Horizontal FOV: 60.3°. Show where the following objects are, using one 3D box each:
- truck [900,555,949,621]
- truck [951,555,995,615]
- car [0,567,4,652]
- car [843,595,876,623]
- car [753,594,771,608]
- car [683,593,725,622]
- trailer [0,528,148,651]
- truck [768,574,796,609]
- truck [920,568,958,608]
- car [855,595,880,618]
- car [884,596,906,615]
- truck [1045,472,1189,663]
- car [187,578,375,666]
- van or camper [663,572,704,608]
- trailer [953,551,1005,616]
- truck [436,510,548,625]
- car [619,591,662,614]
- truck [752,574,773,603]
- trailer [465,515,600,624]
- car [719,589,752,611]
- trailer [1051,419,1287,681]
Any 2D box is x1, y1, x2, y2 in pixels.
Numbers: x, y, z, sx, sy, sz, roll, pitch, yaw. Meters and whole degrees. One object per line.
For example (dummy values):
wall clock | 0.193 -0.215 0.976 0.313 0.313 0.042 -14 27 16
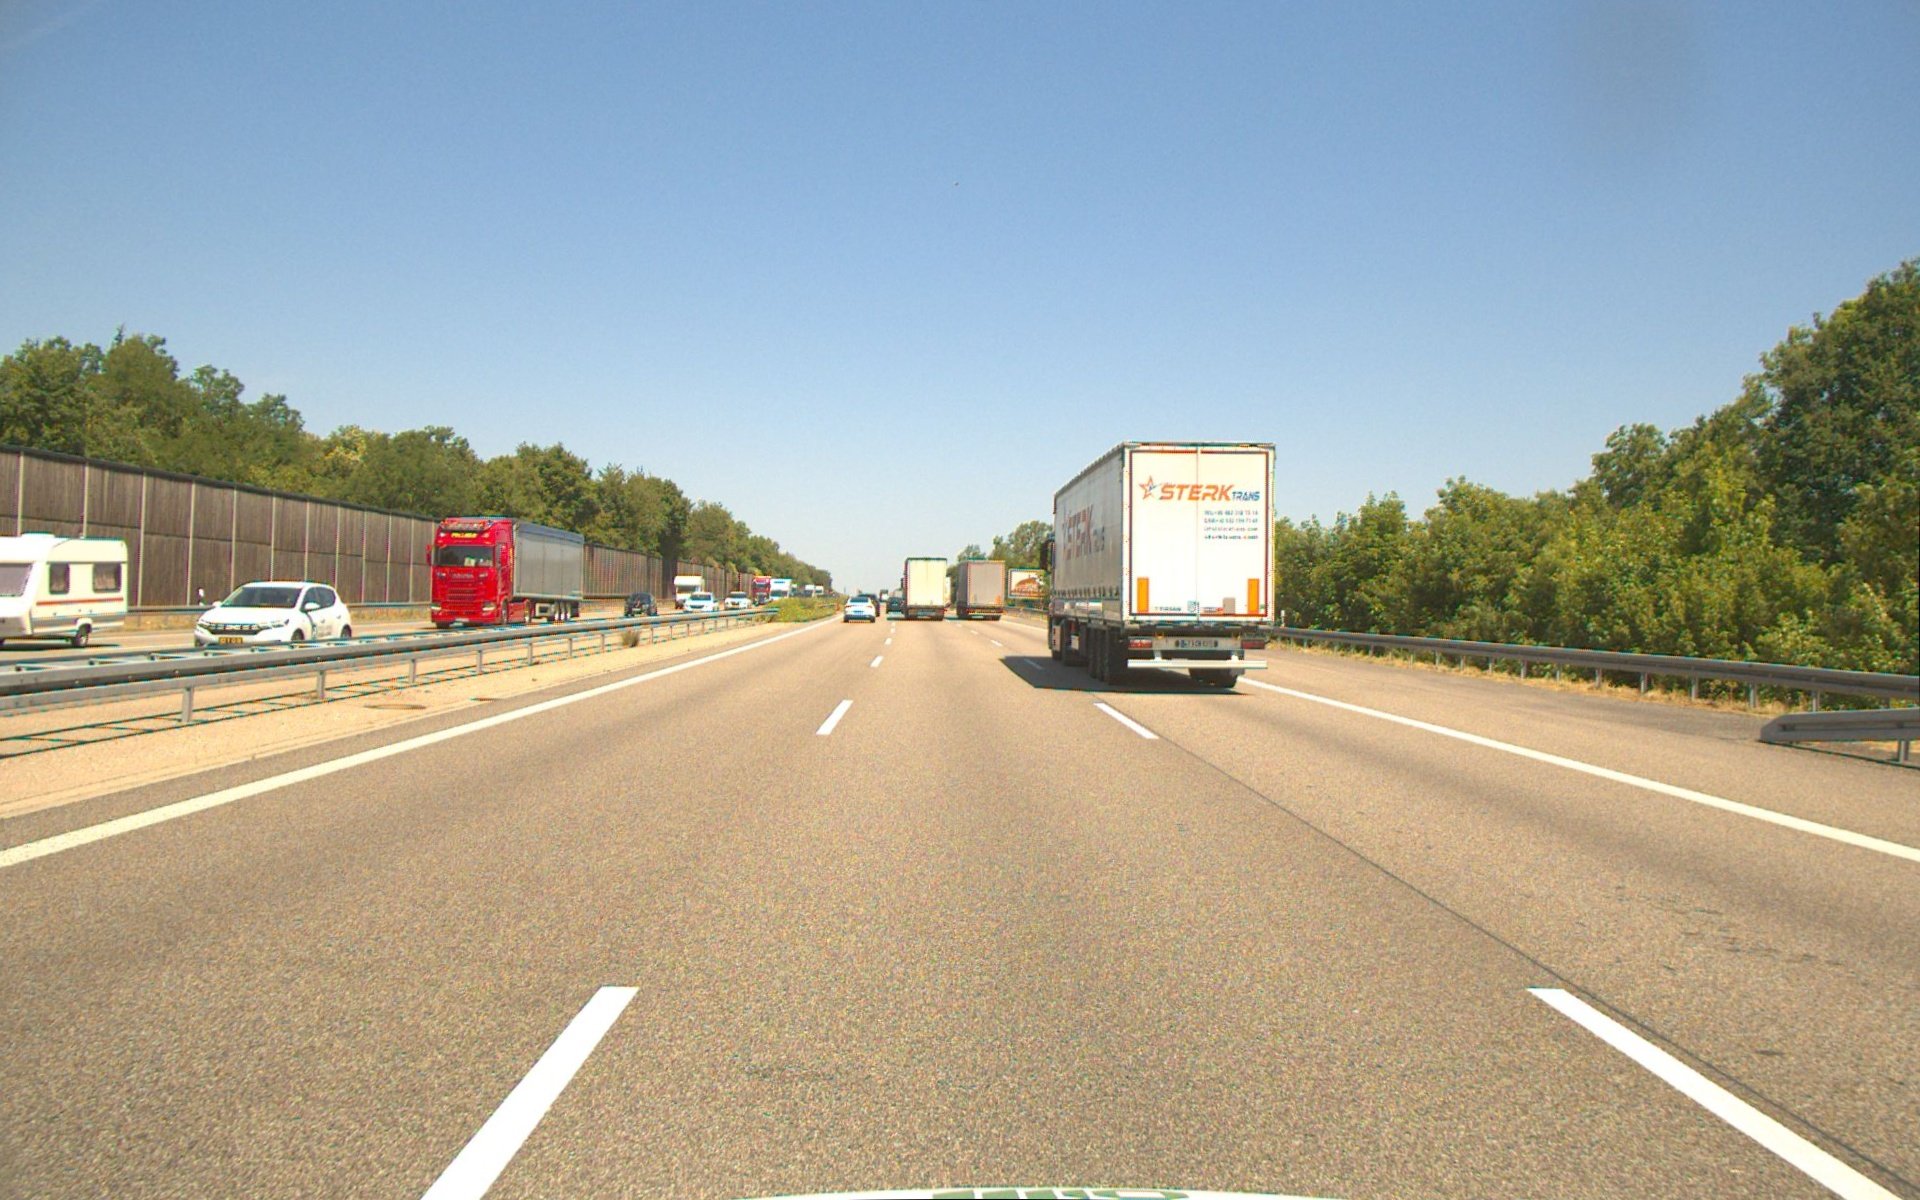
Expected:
truck | -2.501 -0.749 112.884 2.653 4.157 13.463 2 0 -4
truck | 0.930 -1.069 124.345 2.638 4.289 7.832 2 0 -4
car | -20.490 0.186 31.478 1.861 1.741 4.904 1 0 -2
car | -5.846 0.516 96.326 1.818 1.512 3.998 1 0 -3
car | -24.044 0.073 201.134 1.777 1.627 3.998 1 0 -2
car | -14.628 0.438 94.696 1.768 1.571 4.244 1 0 -1
trailer | -20.692 -0.247 37.051 2.088 2.520 6.266 1 0 -2
truck | -17.993 -0.826 167.701 2.361 3.411 6.916 1 0 -2
truck | -2.617 -1.408 199.947 3.309 4.378 11.436 4 0 -6
car | -7.001 0.484 125.741 1.818 1.645 3.998 1 0 -3
car | -5.821 0.489 147.974 1.819 1.645 3.996 1 0 -4
truck | 3.648 -0.713 39.979 2.652 4.160 6.963 1 0 -1
car | -12.931 0.394 31.819 1.860 1.547 4.417 1 0 -1
van or camper | -24.613 -0.848 147.660 2.507 2.964 7.371 5 0 -3
trailer | 1.276 -1.070 118.641 2.650 4.289 13.201 2 0 -4
truck | -17.832 -1.176 63.408 2.310 4.147 7.151 1 0 -1
car | -19.893 0.154 103.228 1.880 1.399 4.580 1 0 -2
truck | -29.521 -1.722 246.827 2.435 4.159 4.677 1 0 1
trailer | -17.965 -1.176 70.599 2.293 4.147 14.205 1 0 -1
car | -16.700 0.008 123.237 1.880 1.573 4.581 1 0 -1
trailer | 3.755 -0.788 33.695 2.652 4.160 14.147 1 0 -1
